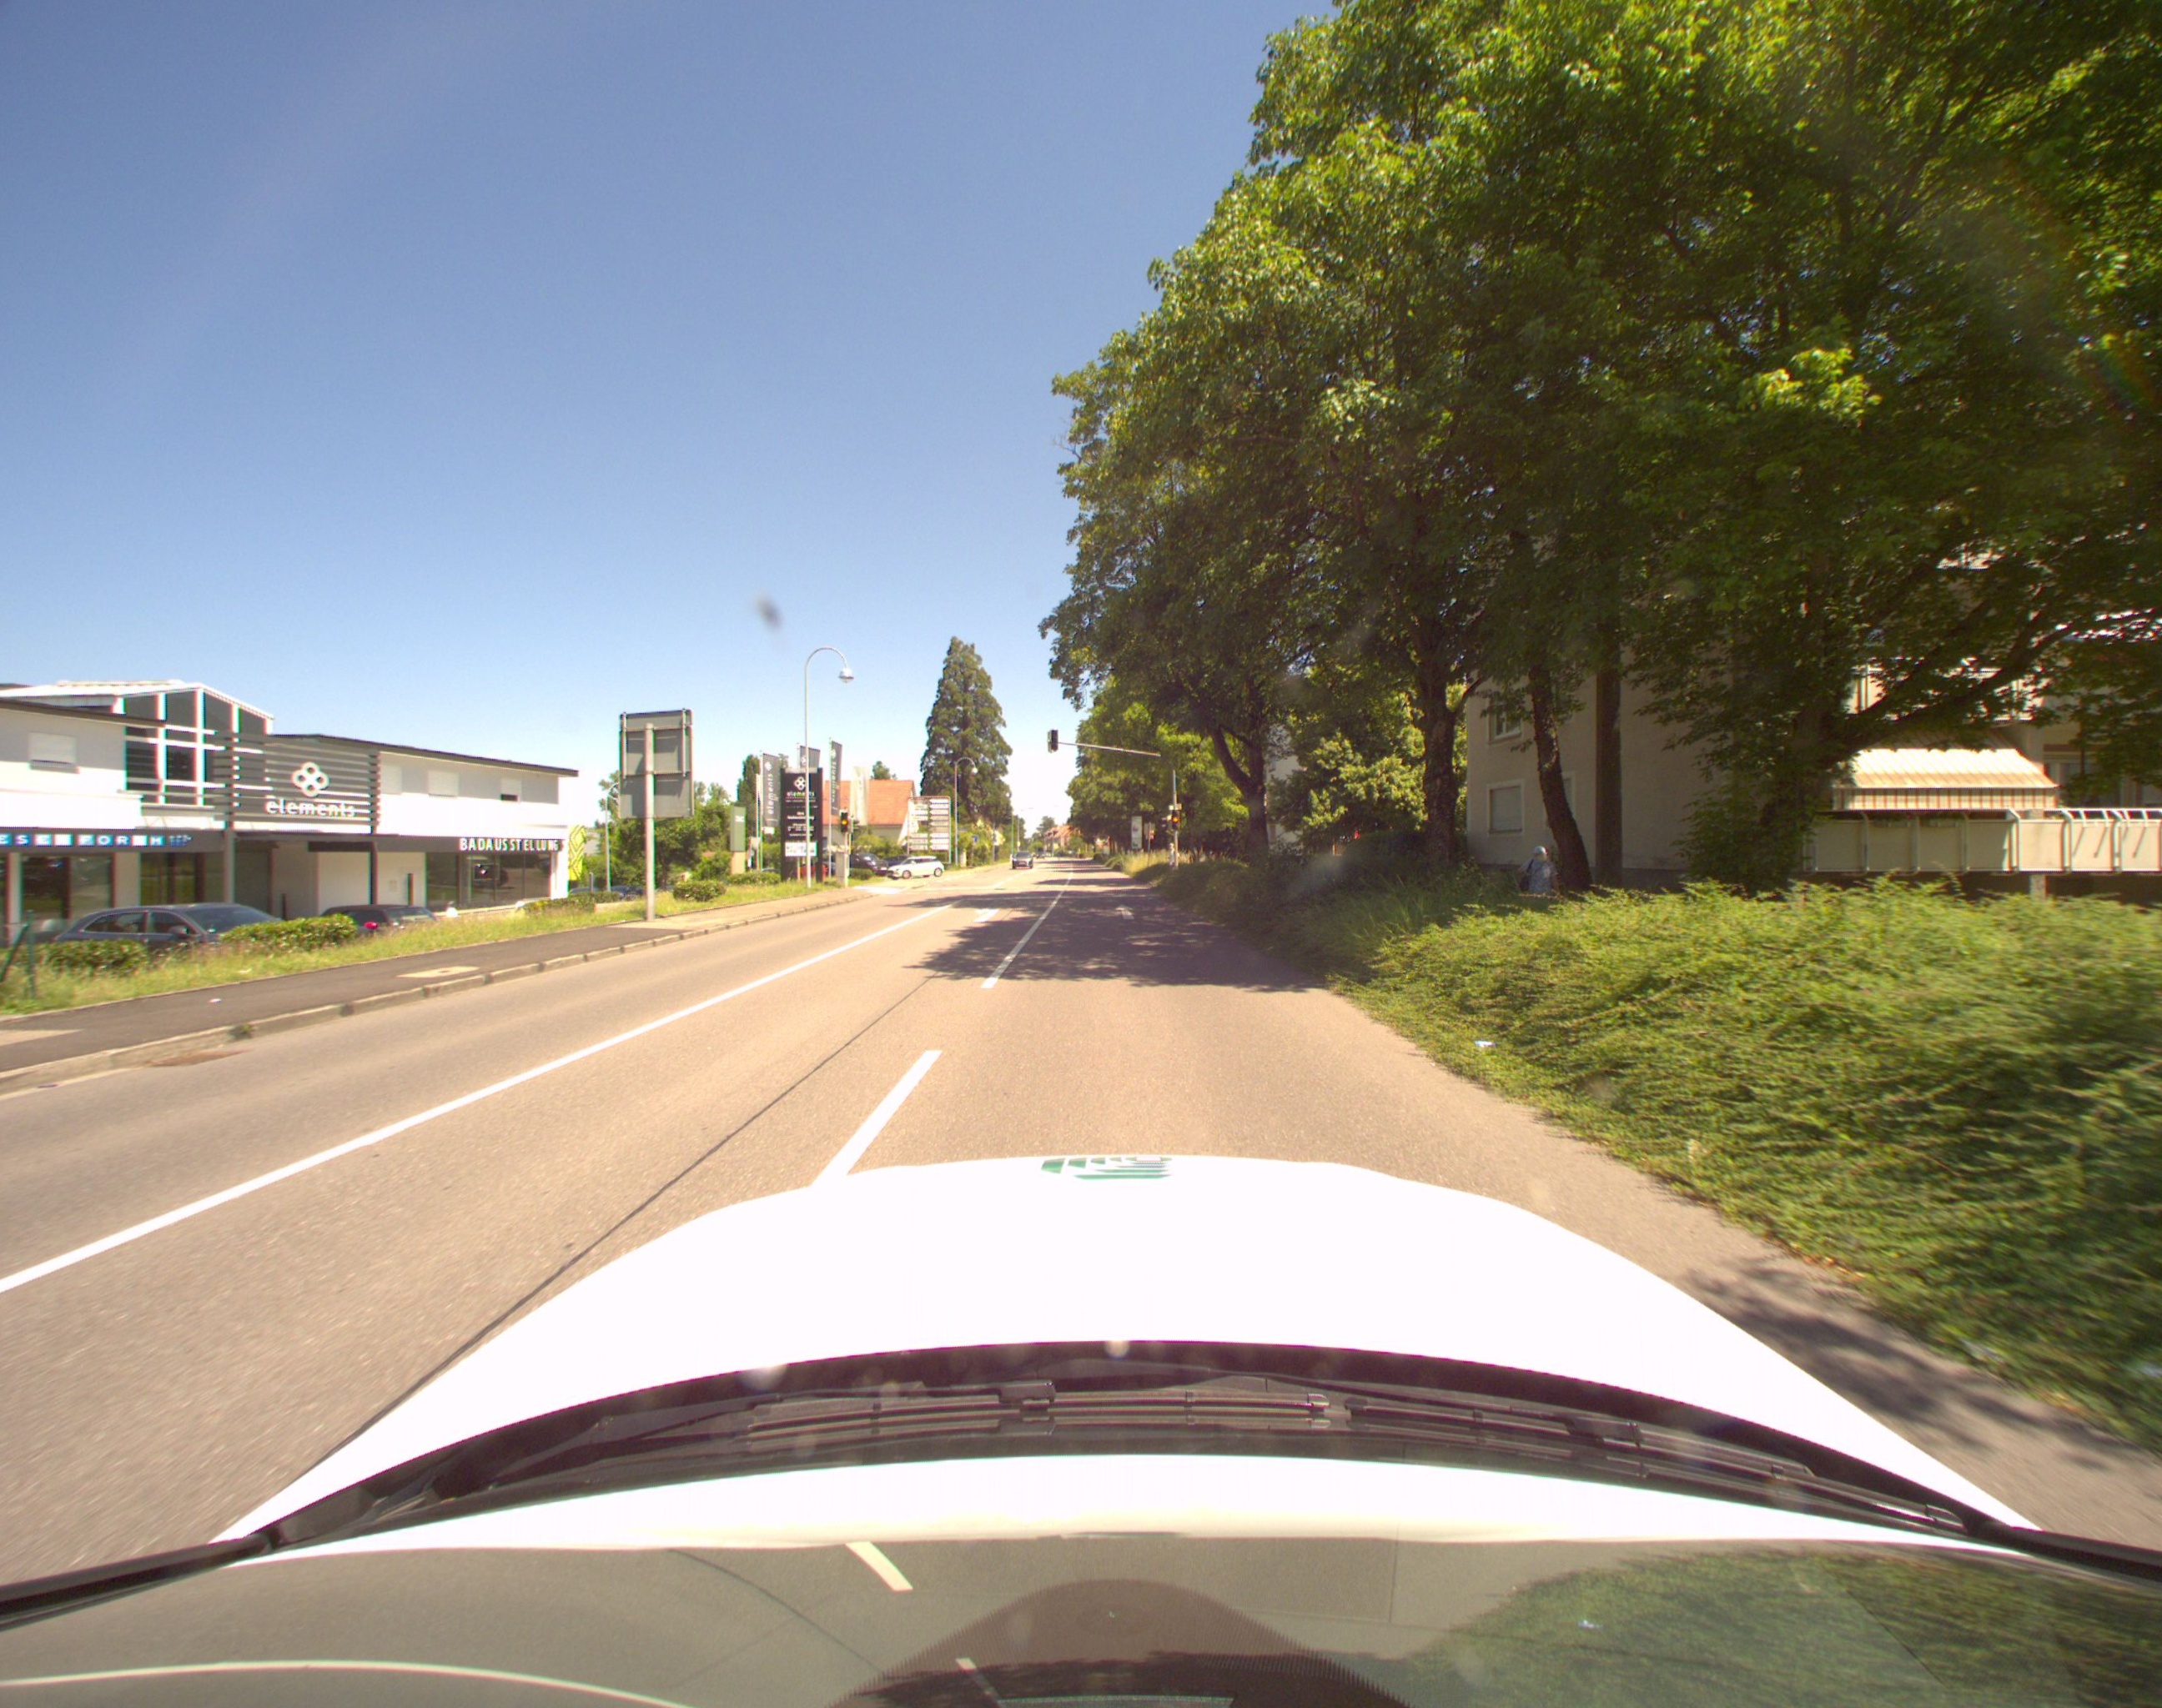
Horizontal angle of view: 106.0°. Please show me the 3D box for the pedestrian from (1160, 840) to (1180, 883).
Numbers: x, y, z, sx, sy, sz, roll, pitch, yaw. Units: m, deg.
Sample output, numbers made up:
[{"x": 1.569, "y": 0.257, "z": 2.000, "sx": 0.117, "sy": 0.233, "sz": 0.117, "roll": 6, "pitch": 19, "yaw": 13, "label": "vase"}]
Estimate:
[{"x": 3.673, "y": 0.318, "z": 33.616, "sx": 0.565, "sy": 1.751, "sz": 0.607, "roll": 0, "pitch": -1, "yaw": -45, "label": "pedestrian"}]

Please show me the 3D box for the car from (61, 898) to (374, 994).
[{"x": -17.027, "y": 1.787, "z": 16.216, "sx": 4.313, "sy": 1.686, "sz": 1.896, "roll": -1, "pitch": 0, "yaw": 3, "label": "car"}]

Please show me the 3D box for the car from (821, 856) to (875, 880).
[{"x": -16.821, "y": 0.970, "z": 58.848, "sx": 3.486, "sy": 1.617, "sz": 1.598, "roll": -2, "pitch": 0, "yaw": -6, "label": "car"}]

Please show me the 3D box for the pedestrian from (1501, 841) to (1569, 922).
[{"x": 7.703, "y": 0.456, "z": 13.855, "sx": 0.659, "sy": 1.335, "sz": 0.889, "roll": 0, "pitch": -1, "yaw": 1, "label": "pedestrian"}]

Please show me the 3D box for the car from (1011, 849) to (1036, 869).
[{"x": -5.332, "y": 0.450, "z": 75.648, "sx": 1.872, "sy": 1.717, "sz": 4.311, "roll": -1, "pitch": 0, "yaw": 1, "label": "car"}]

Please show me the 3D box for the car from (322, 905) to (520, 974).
[{"x": -15.671, "y": 2.007, "z": 19.440, "sx": 3.321, "sy": 1.423, "sz": 1.783, "roll": -1, "pitch": 0, "yaw": 5, "label": "car"}]

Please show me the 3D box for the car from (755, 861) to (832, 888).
[{"x": -18.480, "y": 1.296, "z": 52.456, "sx": 4.262, "sy": 1.526, "sz": 1.936, "roll": -3, "pitch": -1, "yaw": 14, "label": "car"}]

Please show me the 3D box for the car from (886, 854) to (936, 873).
[{"x": -12.869, "y": 0.695, "z": 61.681, "sx": 3.482, "sy": 1.427, "sz": 1.599, "roll": 0, "pitch": 0, "yaw": -3, "label": "car"}]

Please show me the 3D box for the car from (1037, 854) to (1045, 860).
[{"x": -8.591, "y": 0.626, "z": 176.269, "sx": 1.426, "sy": 1.322, "sz": 3.356, "roll": -1, "pitch": 0, "yaw": 2, "label": "car"}]

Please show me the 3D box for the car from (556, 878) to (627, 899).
[{"x": -34.611, "y": 2.428, "z": 57.673, "sx": 3.973, "sy": 1.413, "sz": 1.756, "roll": -1, "pitch": 0, "yaw": 0, "label": "car"}]

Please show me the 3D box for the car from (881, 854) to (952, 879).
[{"x": -11.225, "y": 0.822, "z": 55.807, "sx": 4.335, "sy": 1.487, "sz": 1.975, "roll": -2, "pitch": 1, "yaw": -44, "label": "car"}]
